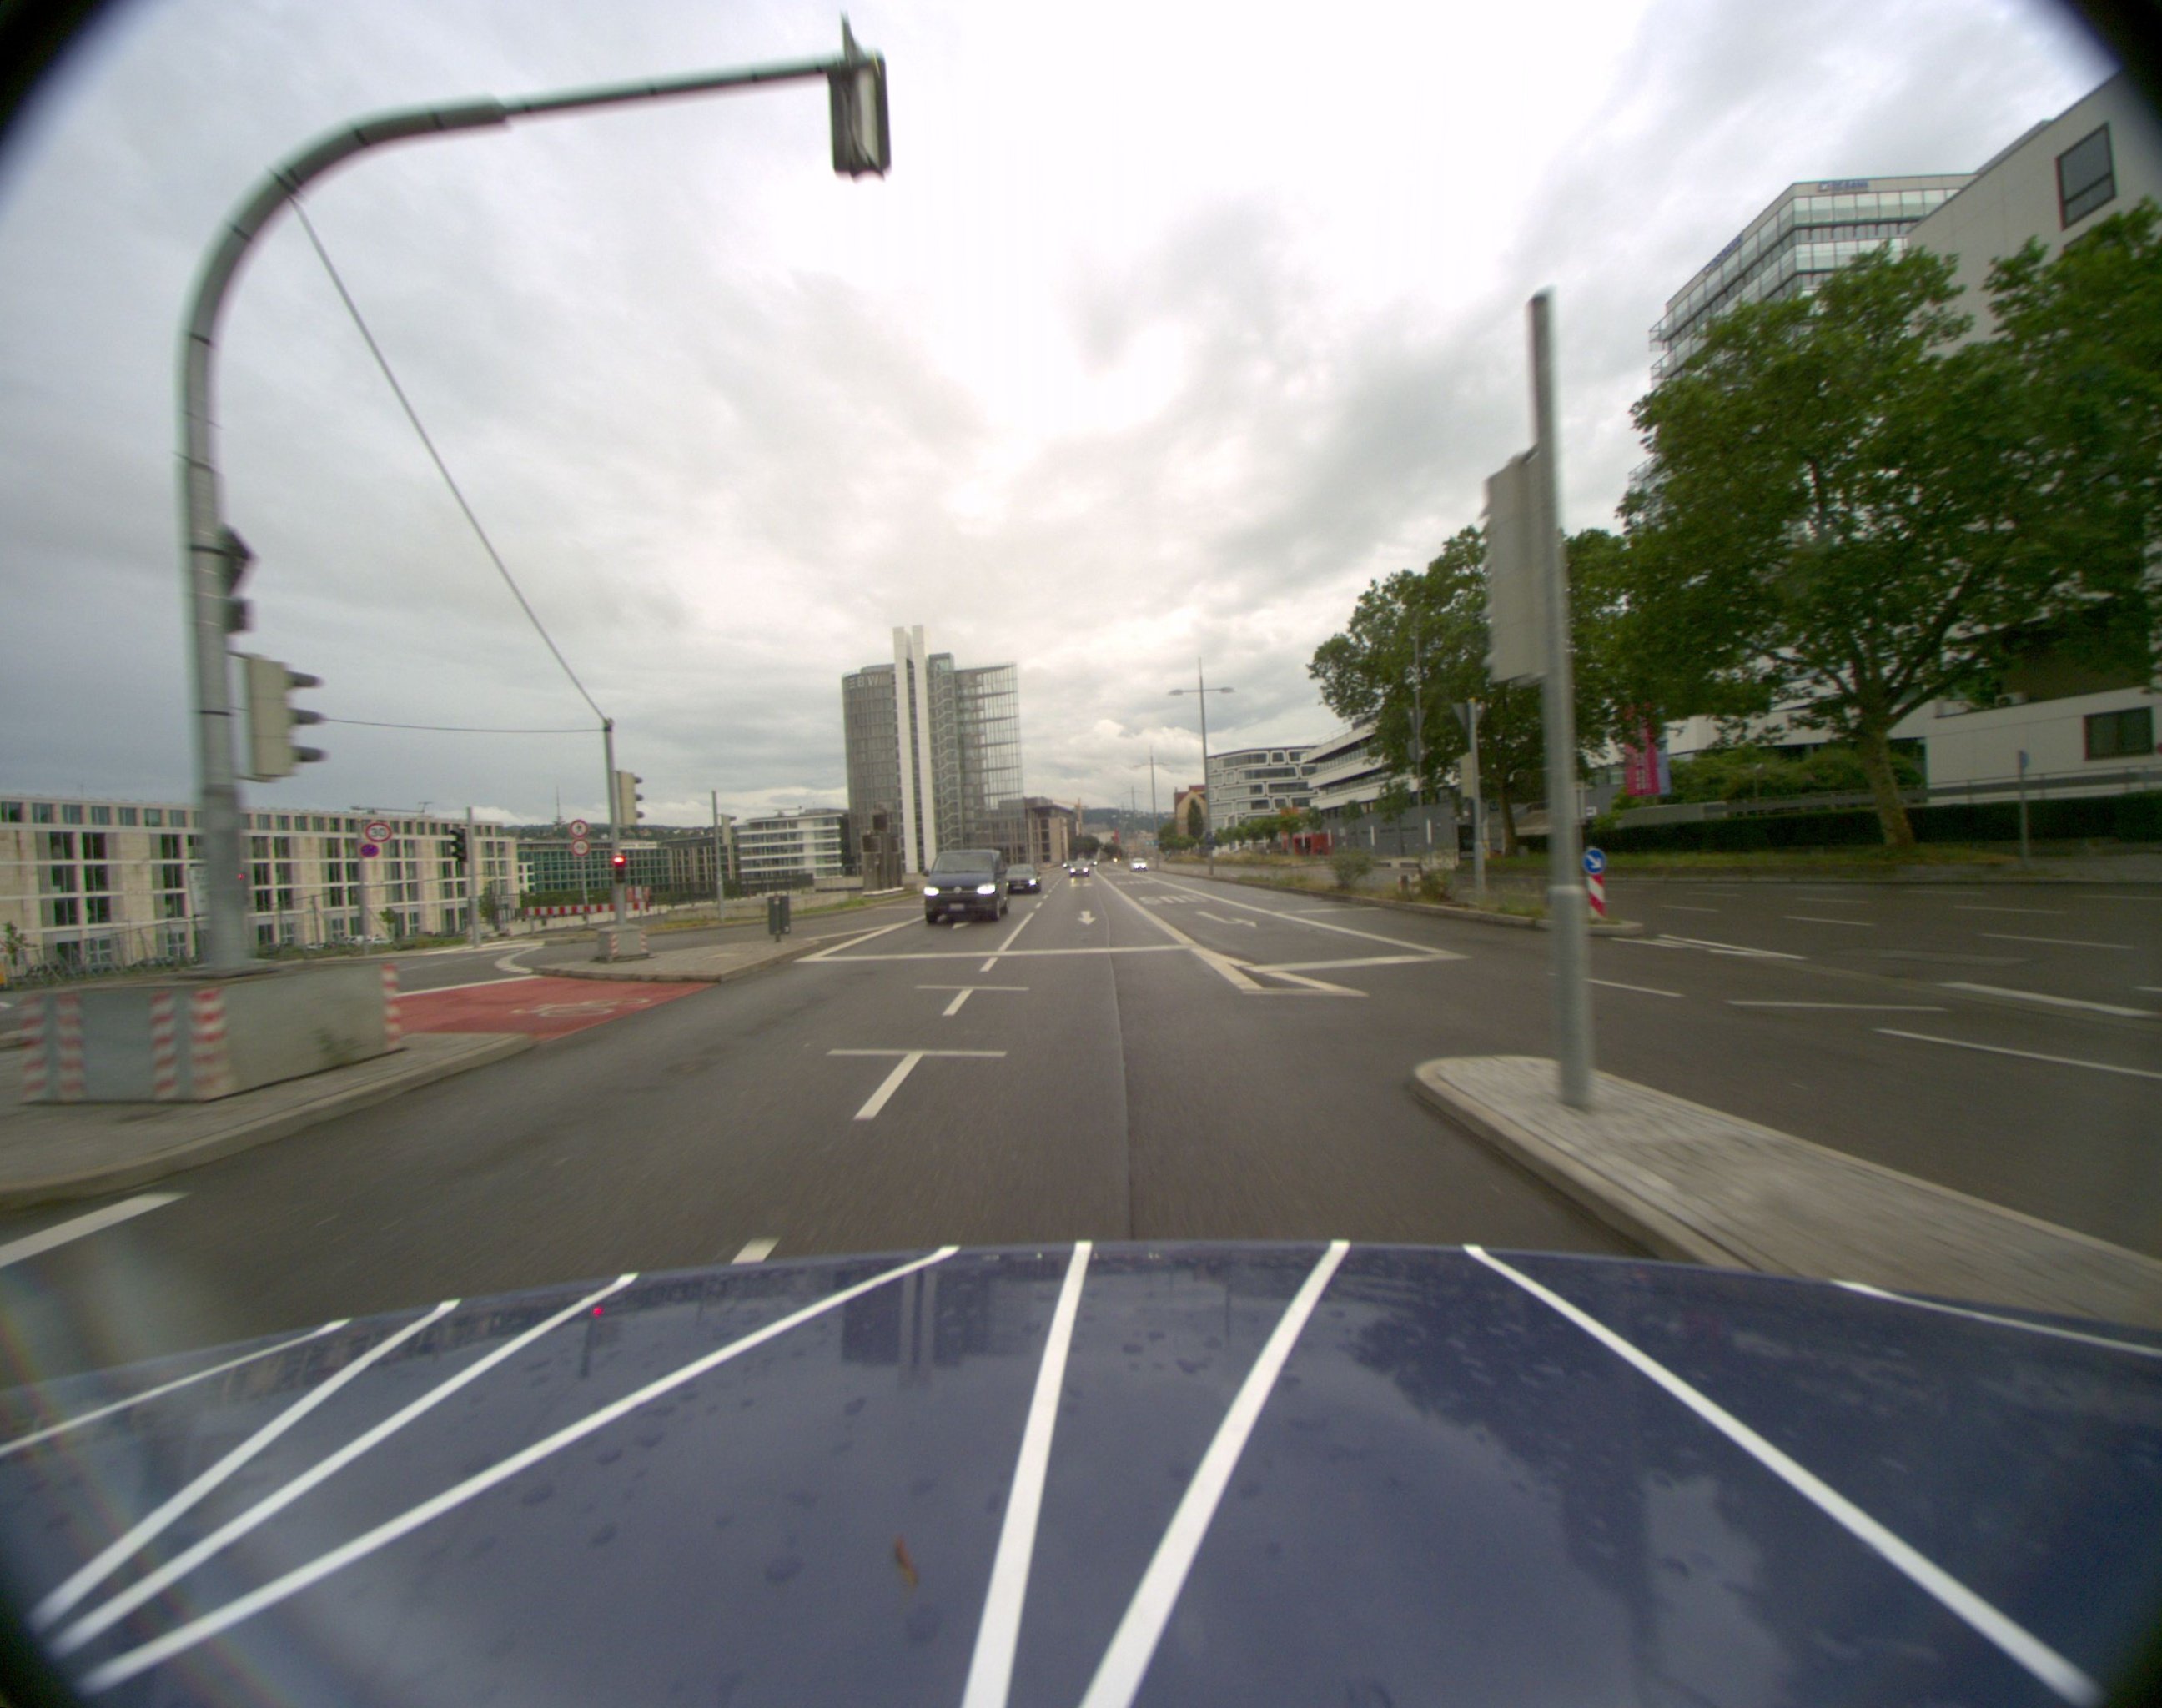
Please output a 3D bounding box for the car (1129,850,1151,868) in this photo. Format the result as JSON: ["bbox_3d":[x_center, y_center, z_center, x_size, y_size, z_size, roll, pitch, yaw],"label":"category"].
[{"bbox_3d":[6.478,0.530,83.555,1.971,1.816,3.926,-3,1,-1],"label":"car"}]

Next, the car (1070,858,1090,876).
[{"bbox_3d":[-0.062,1.123,67.709,1.684,1.379,3.475,-2,1,1],"label":"car"}]

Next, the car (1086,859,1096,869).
[{"bbox_3d":[2.229,2.101,166.449,1.998,2.002,3.999,-2,1,0],"label":"car"}]

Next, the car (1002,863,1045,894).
[{"bbox_3d":[-2.802,1.156,37.671,1.727,1.368,4.155,-2,0,0],"label":"car"}]

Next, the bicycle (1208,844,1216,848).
[{"bbox_3d":[25.490,-1.543,148.166,0.610,0.852,1.653,-3,2,-32],"label":"bicycle"}]

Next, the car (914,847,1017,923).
[{"bbox_3d":[-3.142,0.796,21.750,2.038,1.871,5.042,-1,0,1],"label":"car"}]

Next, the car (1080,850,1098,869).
[{"bbox_3d":[0.889,0.592,86.325,1.998,2.002,3.999,-2,1,0],"label":"car"}]

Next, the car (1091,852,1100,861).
[{"bbox_3d":[3.555,0.477,181.523,1.998,2.002,3.999,-2,1,0],"label":"car"}]

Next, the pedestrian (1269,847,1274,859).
[{"bbox_3d":[29.560,-0.204,117.803,0.631,1.797,0.628,-2,2,1],"label":"pedestrian"}]

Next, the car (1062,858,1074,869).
[{"bbox_3d":[-2.448,1.738,144.870,1.998,1.827,3.999,-2,1,0],"label":"car"}]

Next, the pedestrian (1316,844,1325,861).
[{"bbox_3d":[27.326,-0.177,86.836,0.786,1.797,0.628,-2,2,1],"label":"pedestrian"}]

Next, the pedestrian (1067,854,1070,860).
[{"bbox_3d":[-3.174,0.720,193.331,0.660,1.601,0.547,-3,0,7],"label":"pedestrian"}]
